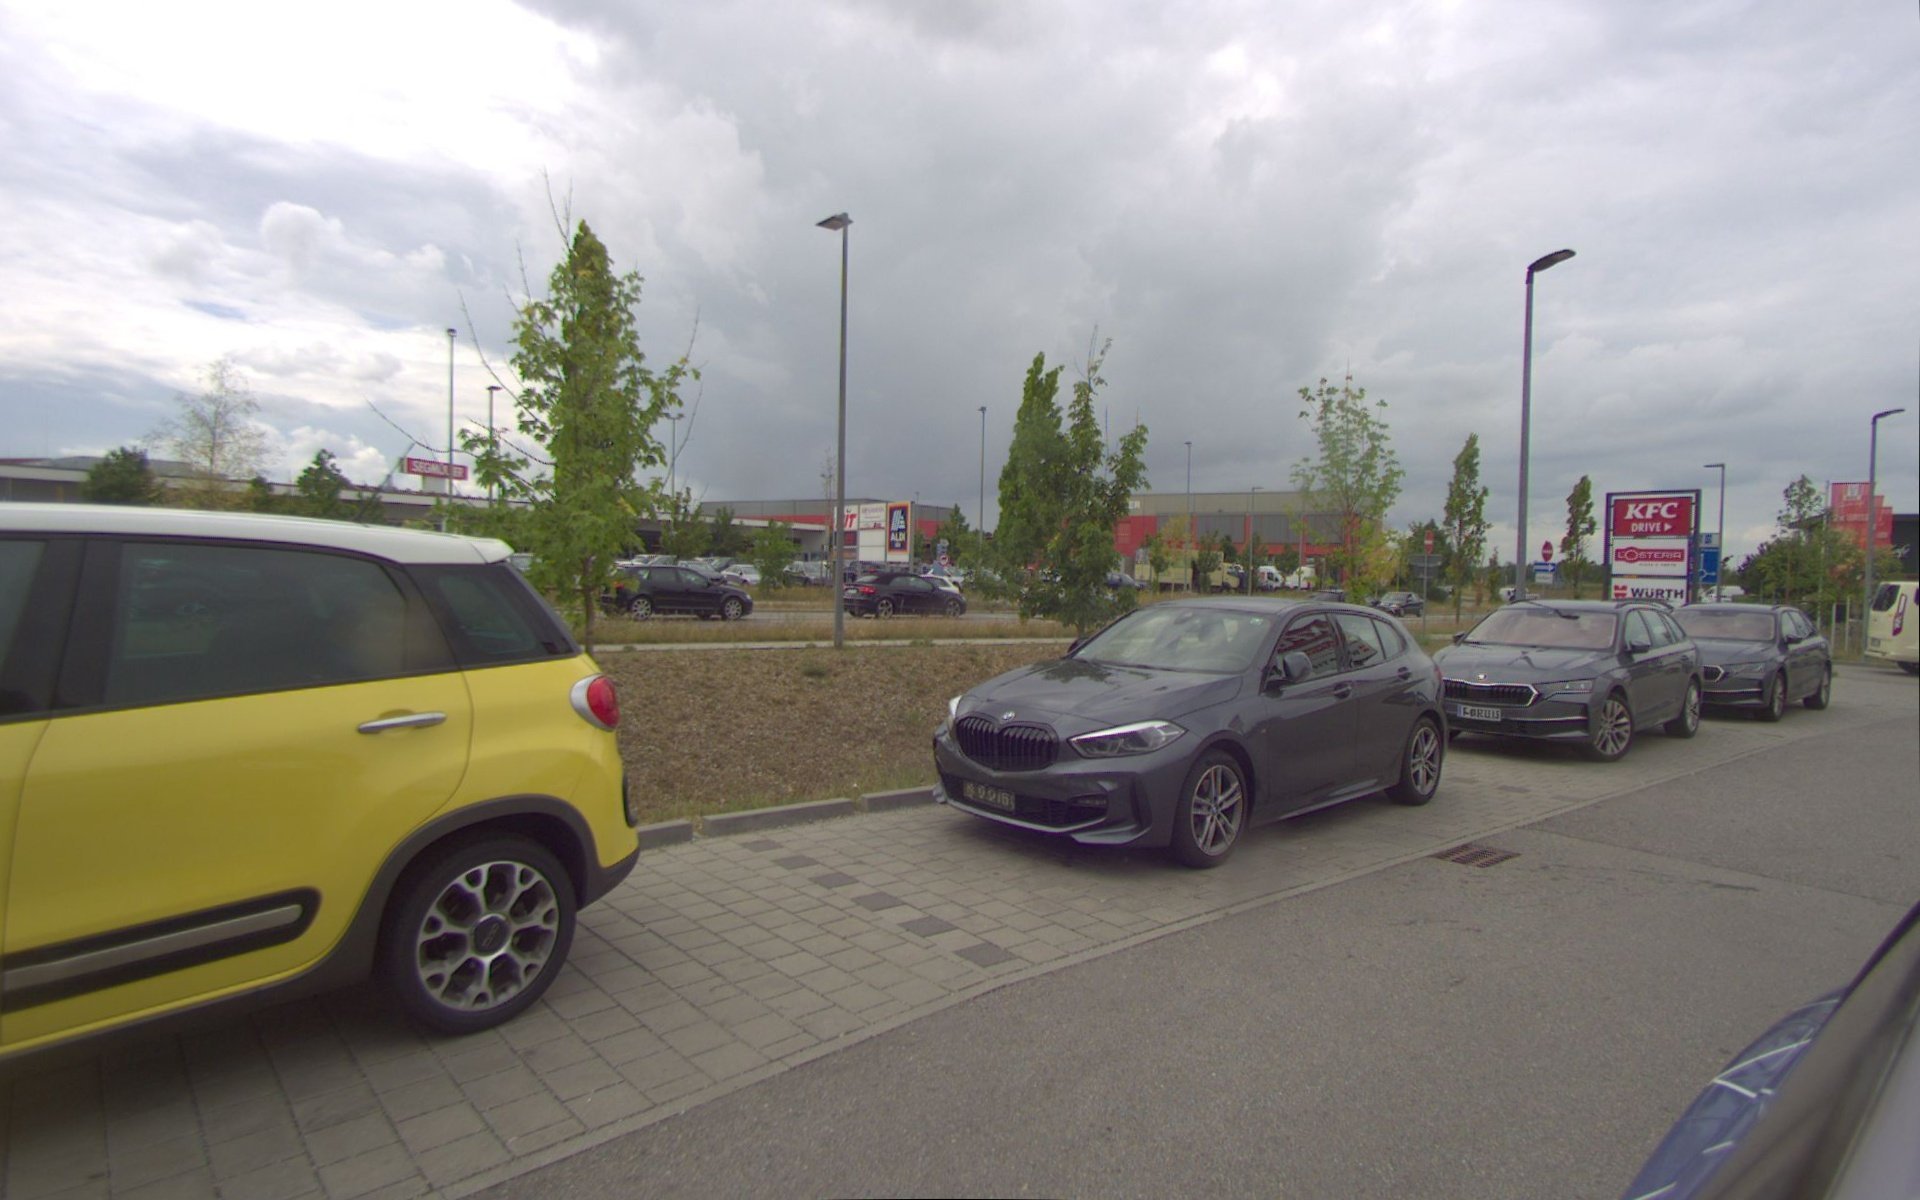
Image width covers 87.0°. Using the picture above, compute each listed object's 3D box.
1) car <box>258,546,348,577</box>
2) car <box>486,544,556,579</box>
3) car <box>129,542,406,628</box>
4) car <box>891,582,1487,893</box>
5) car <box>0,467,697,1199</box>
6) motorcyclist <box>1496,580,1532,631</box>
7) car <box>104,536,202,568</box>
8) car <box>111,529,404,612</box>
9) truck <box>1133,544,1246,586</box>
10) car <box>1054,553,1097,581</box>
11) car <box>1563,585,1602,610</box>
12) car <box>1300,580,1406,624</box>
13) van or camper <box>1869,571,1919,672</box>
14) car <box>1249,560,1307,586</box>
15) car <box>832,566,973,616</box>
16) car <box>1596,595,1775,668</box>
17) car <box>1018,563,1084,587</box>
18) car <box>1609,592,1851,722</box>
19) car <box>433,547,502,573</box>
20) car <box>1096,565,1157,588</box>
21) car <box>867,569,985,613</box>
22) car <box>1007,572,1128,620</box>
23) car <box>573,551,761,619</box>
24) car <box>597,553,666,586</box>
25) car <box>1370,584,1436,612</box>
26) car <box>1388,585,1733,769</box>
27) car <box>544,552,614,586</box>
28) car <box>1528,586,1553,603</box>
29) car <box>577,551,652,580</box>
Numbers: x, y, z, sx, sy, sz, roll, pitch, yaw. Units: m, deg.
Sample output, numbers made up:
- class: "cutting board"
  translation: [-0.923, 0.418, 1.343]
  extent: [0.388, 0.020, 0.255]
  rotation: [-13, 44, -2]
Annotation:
- class: "car"
  translation: [-37.894, -2.204, 58.475]
  extent: [1.863, 1.660, 3.954]
  rotation: [2, 2, 32]
- class: "car"
  translation: [-19.799, -1.753, 45.562]
  extent: [1.747, 1.494, 3.994]
  rotation: [0, 2, -41]
- class: "car"
  translation: [-12.252, -0.279, 18.050]
  extent: [3.928, 1.371, 1.759]
  rotation: [0, 2, -39]
- class: "car"
  translation: [1.752, 0.627, 6.804]
  extent: [4.231, 1.433, 1.750]
  rotation: [0, 1, -41]
- class: "car"
  translation: [-3.019, 0.526, 2.735]
  extent: [1.746, 1.704, 4.234]
  rotation: [2, 1, 41]
- class: "motorcyclist"
  translation: [14.775, 0.148, 27.001]
  extent: [0.566, 1.332, 0.672]
  rotation: [0, 1, -43]
- class: "car"
  translation: [-45.378, -2.680, 56.976]
  extent: [1.863, 1.660, 3.954]
  rotation: [2, 2, 32]
- class: "car"
  translation: [-14.479, -0.573, 21.057]
  extent: [4.802, 1.526, 1.807]
  rotation: [0, 2, -43]
- class: "truck"
  translation: [17.369, -2.610, 76.522]
  extent: [8.011, 2.981, 2.686]
  rotation: [0, 2, -19]
- class: "car"
  translation: [9.809, -2.800, 85.657]
  extent: [2.009, 2.232, 4.304]
  rotation: [2, 3, 30]
- class: "car"
  translation: [48.980, -0.191, 79.581]
  extent: [1.900, 1.836, 3.939]
  rotation: [3, 2, 42]
- class: "car"
  translation: [15.104, 0.073, 38.807]
  extent: [4.293, 1.534, 1.998]
  rotation: [0, 2, -41]
- class: "van or camper"
  translation: [22.099, 0.508, 20.468]
  extent: [5.193, 2.087, 1.839]
  rotation: [2, 1, 31]
- class: "car"
  translation: [27.210, -2.297, 86.658]
  extent: [4.406, 2.149, 1.977]
  rotation: [2, 1, 33]
- class: "car"
  translation: [-1.745, -0.283, 31.170]
  extent: [3.926, 1.415, 1.908]
  rotation: [0, 2, -38]
- class: "car"
  translation: [17.234, 0.686, 24.149]
  extent: [1.478, 1.464, 3.126]
  rotation: [0, 3, -36]
- class: "car"
  translation: [5.859, -1.636, 65.293]
  extent: [1.967, 1.460, 3.992]
  rotation: [0, 2, -43]
- class: "car"
  translation: [10.848, 0.666, 14.140]
  extent: [4.408, 1.509, 1.751]
  rotation: [0, 1, -40]
- class: "car"
  translation: [-34.001, -2.737, 69.950]
  extent: [1.863, 1.660, 3.954]
  rotation: [2, 2, 32]
- class: "car"
  translation: [11.484, -1.638, 69.937]
  extent: [3.818, 1.445, 1.721]
  rotation: [2, 2, 35]
- class: "car"
  translation: [-1.201, -0.331, 36.427]
  extent: [3.981, 1.499, 1.758]
  rotation: [0, 1, -37]
- class: "car"
  translation: [3.728, -0.146, 34.824]
  extent: [3.925, 1.513, 1.823]
  rotation: [0, 2, -36]
- class: "car"
  translation: [-7.496, -0.390, 26.089]
  extent: [4.260, 1.588, 1.906]
  rotation: [0, 2, -41]
- class: "car"
  translation: [-15.803, -1.466, 48.573]
  extent: [1.747, 1.494, 3.994]
  rotation: [0, 2, -41]
- class: "car"
  translation: [24.937, -0.147, 56.902]
  extent: [4.457, 1.499, 1.755]
  rotation: [0, 2, -43]
- class: "car"
  translation: [6.436, 0.623, 10.612]
  extent: [4.552, 1.509, 1.751]
  rotation: [0, 1, -41]
- class: "car"
  translation: [-17.823, -1.466, 47.288]
  extent: [1.747, 1.494, 3.994]
  rotation: [0, 2, -41]
- class: "car"
  translation: [60.448, -0.565, 105.441]
  extent: [1.982, 1.697, 3.961]
  rotation: [2, 2, 28]
- class: "car"
  translation: [-20.578, -2.051, 60.433]
  extent: [1.863, 1.660, 3.954]
  rotation: [2, 2, 32]
